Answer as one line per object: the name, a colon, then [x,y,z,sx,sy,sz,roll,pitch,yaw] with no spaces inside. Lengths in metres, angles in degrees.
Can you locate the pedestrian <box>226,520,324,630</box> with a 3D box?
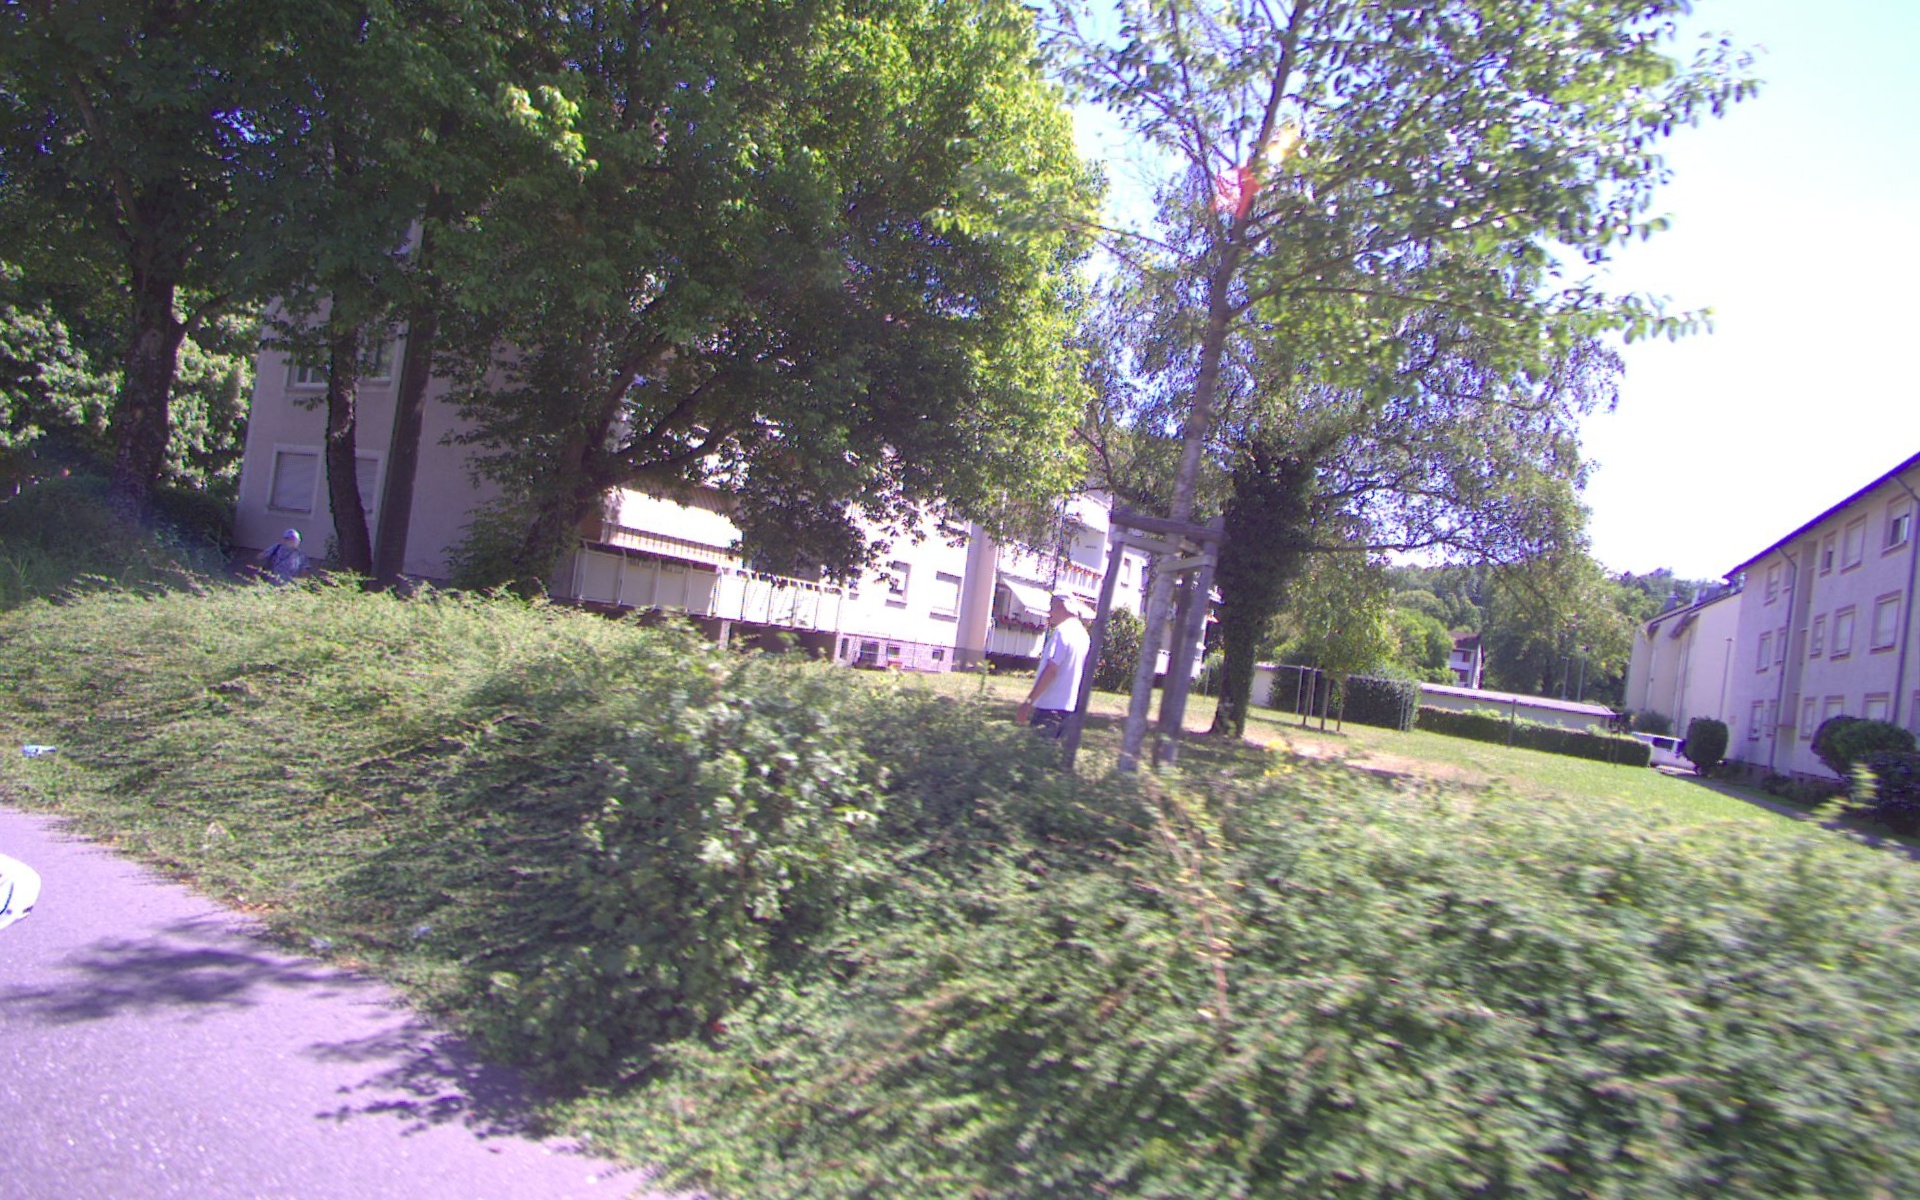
pedestrian: [-9.283,-0.331,13.640,0.874,1.350,0.663,7,-1,31]

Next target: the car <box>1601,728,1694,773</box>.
car: [39.941,8.729,58.522,1.933,1.844,3.928,8,-2,-30]

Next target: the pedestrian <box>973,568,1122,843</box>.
pedestrian: [0.678,0.787,7.692,0.649,1.937,0.704,7,0,34]
